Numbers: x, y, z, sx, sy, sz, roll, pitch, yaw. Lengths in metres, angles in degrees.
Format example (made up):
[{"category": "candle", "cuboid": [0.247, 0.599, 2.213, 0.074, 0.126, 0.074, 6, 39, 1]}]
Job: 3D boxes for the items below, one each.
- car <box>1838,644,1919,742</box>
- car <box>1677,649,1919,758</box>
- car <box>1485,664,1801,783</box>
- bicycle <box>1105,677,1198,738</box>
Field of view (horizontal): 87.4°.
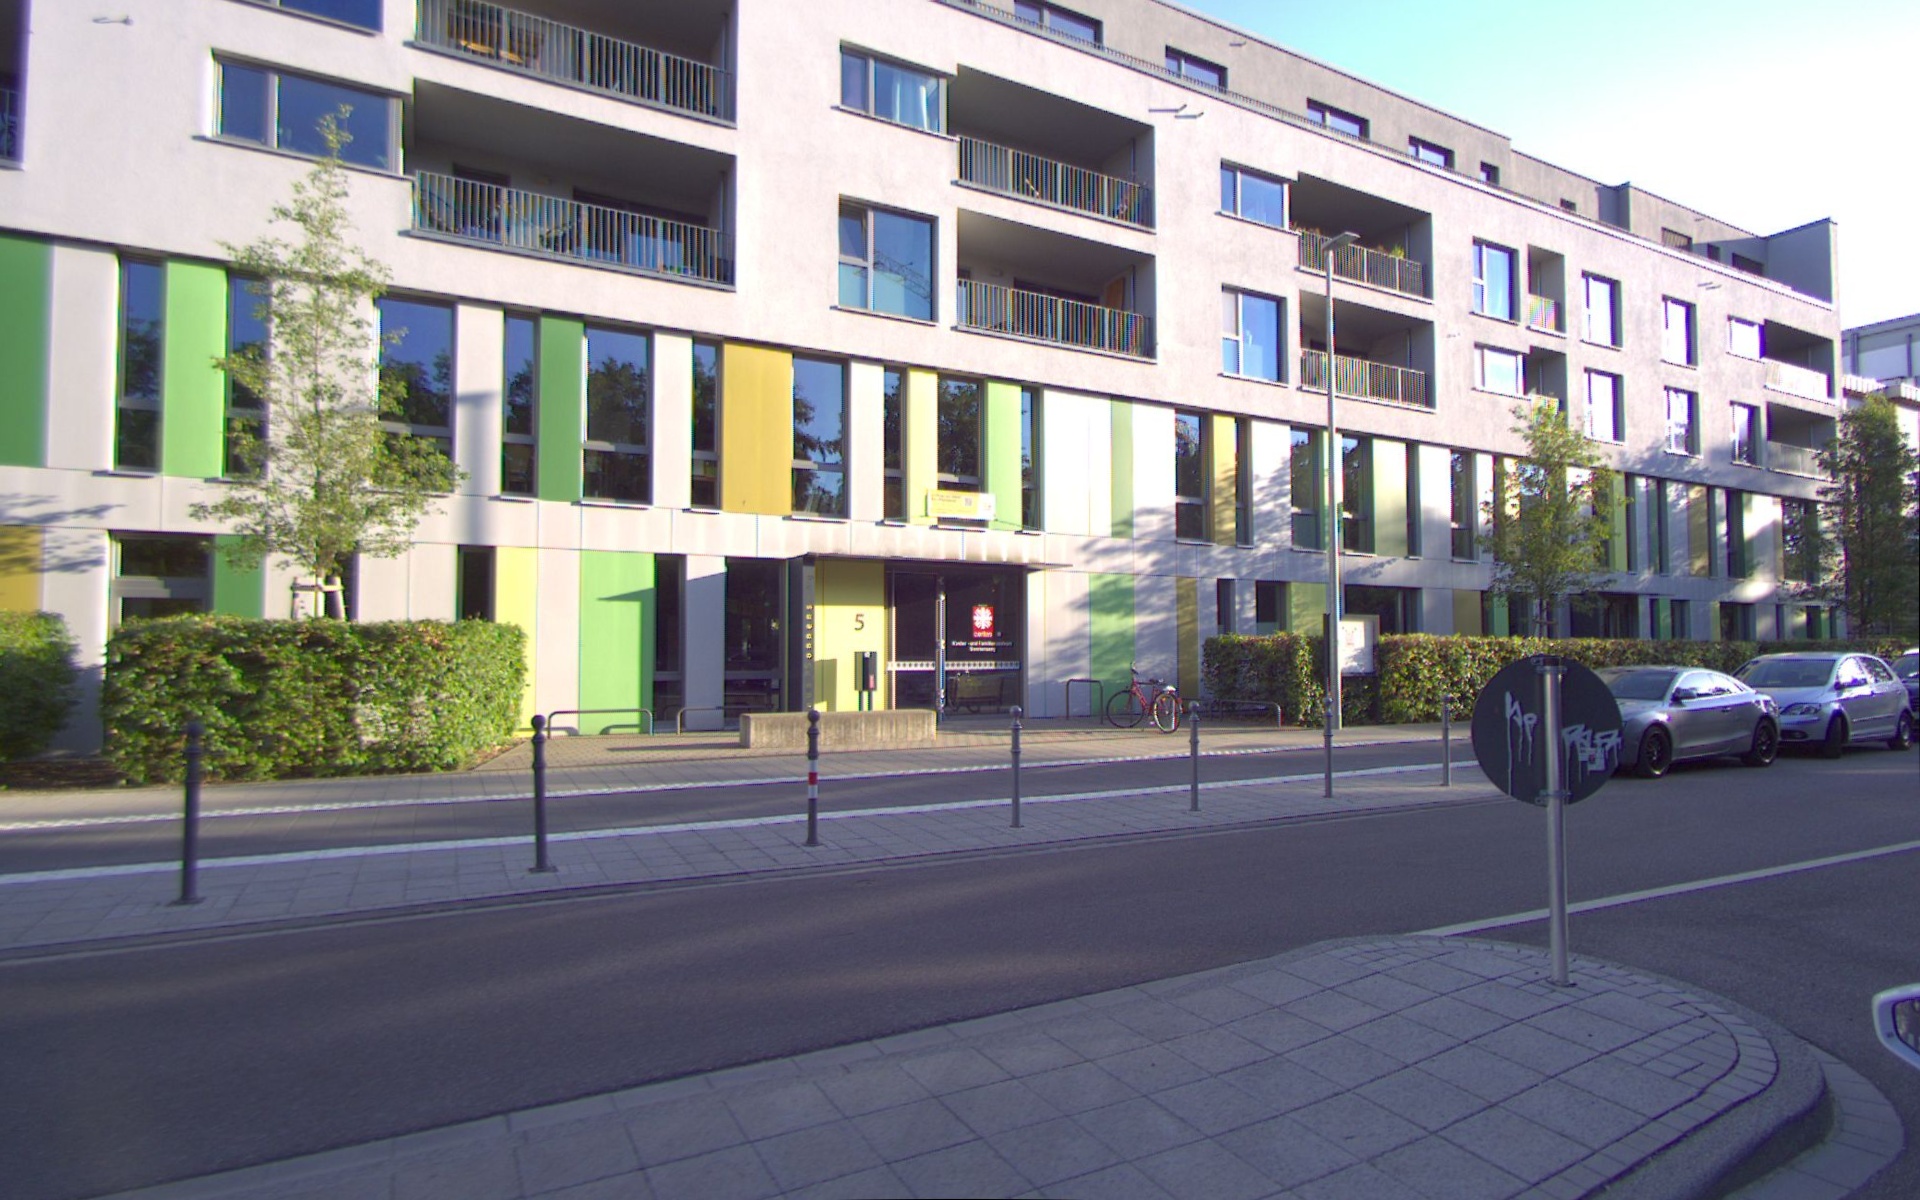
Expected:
[{"category": "car", "cuboid": [18.467, 1.664, 18.742, 4.363, 1.697, 1.735, 1, -4, -30]}, {"category": "car", "cuboid": [13.551, 1.585, 16.178, 4.068, 1.553, 1.734, 2, -4, -30]}, {"category": "car", "cuboid": [9.344, 1.574, 13.685, 4.342, 1.374, 1.735, 2, -4, -28]}, {"category": "bicycle", "cuboid": [3.298, 1.835, 17.411, 0.610, 0.930, 1.743, 2, -2, -29]}]
